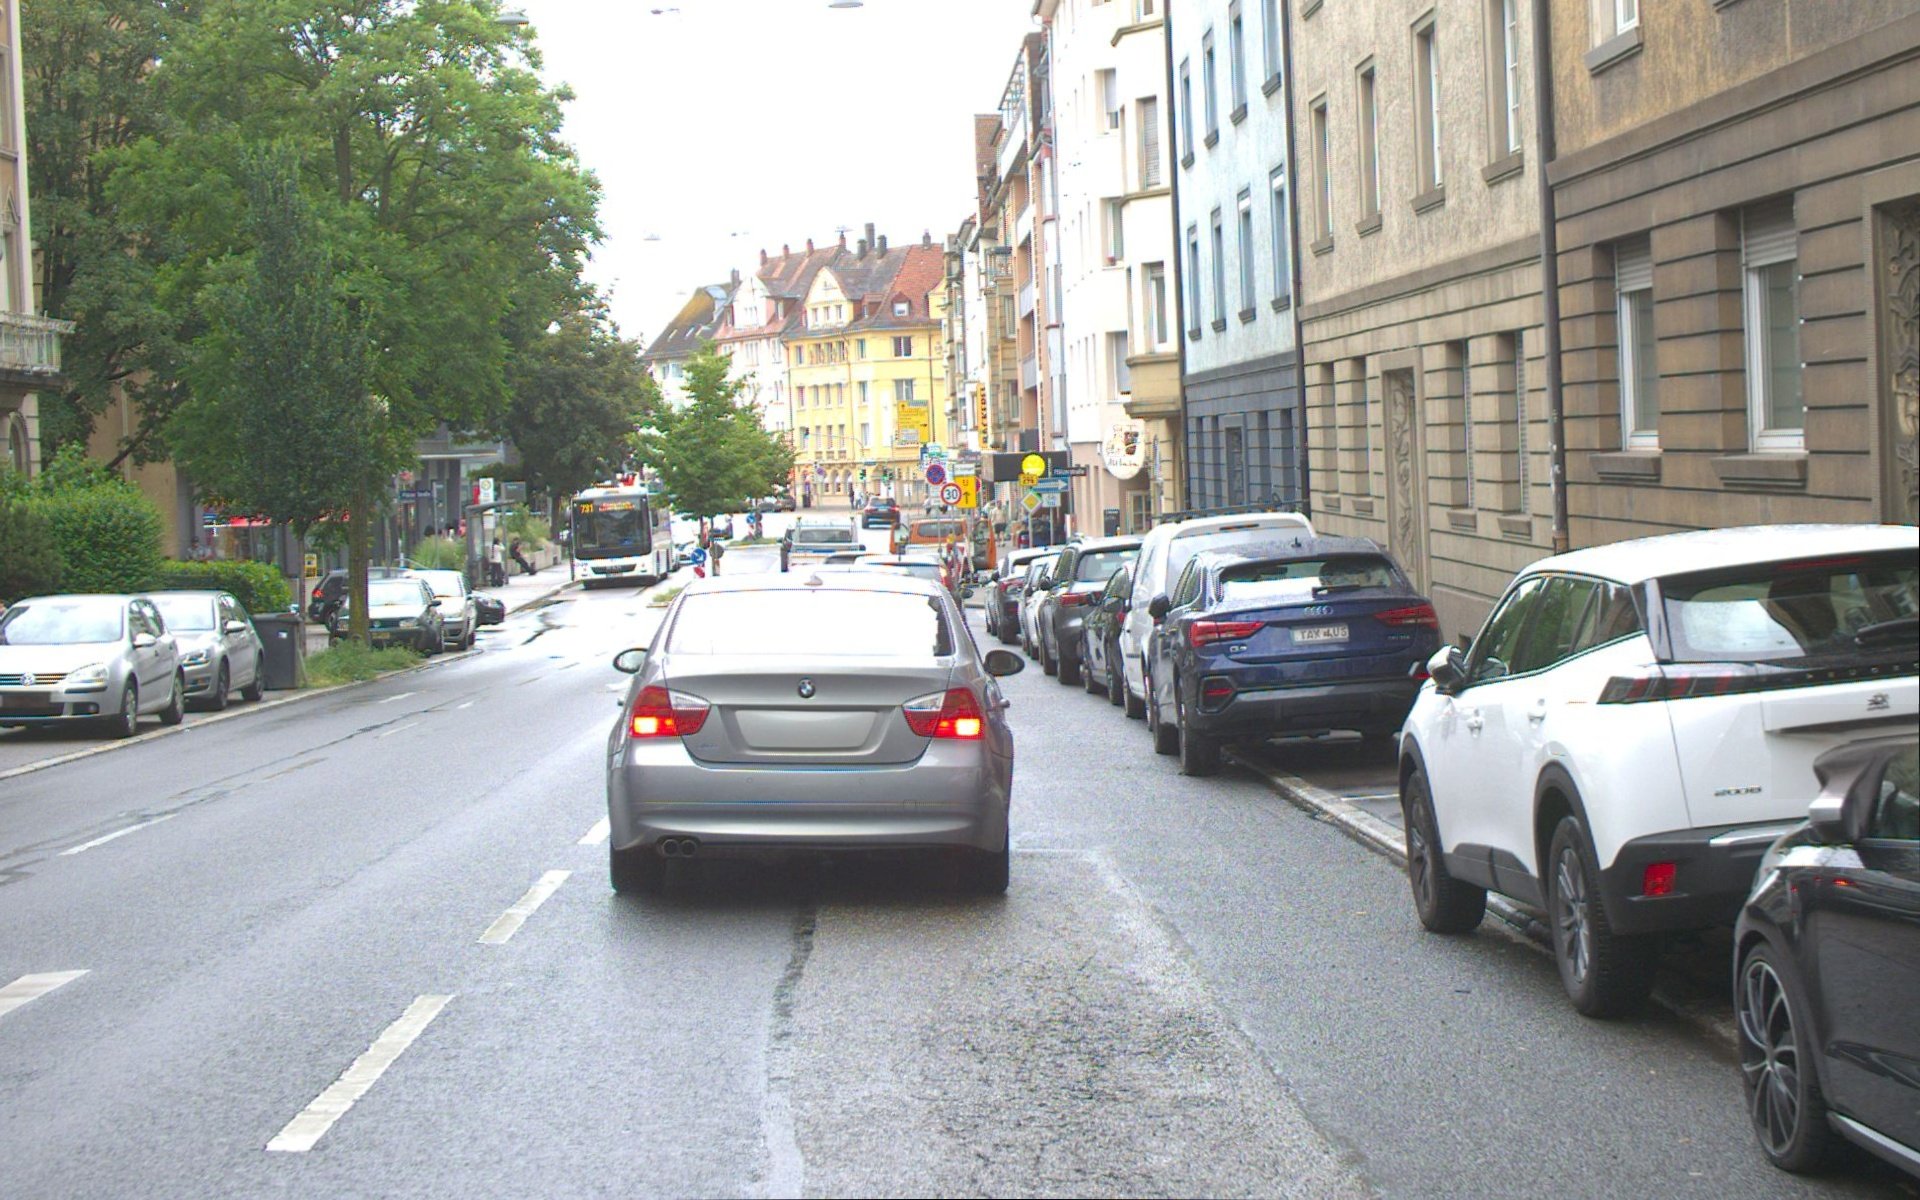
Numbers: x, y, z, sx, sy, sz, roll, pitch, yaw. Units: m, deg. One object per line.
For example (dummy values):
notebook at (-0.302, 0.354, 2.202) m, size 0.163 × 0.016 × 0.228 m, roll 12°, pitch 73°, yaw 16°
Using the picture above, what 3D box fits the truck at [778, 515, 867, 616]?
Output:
truck at (-3.597, -0.879, 89.779) m, size 2.216 × 2.535 × 4.780 m, roll 1°, pitch 0°, yaw -3°

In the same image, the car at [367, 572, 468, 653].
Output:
car at (-10.416, 0.214, 66.181) m, size 1.631 × 1.449 × 3.840 m, roll -2°, pitch 1°, yaw -5°

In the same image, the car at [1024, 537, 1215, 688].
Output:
car at (1.860, 0.131, 41.374) m, size 1.840 × 1.615 × 4.208 m, roll -3°, pitch 0°, yaw -2°

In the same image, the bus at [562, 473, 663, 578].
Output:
bus at (-11.567, -2.405, 115.270) m, size 2.681 × 3.190 × 11.957 m, roll 1°, pitch 0°, yaw -3°

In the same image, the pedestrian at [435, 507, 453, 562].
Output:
pedestrian at (-16.922, -2.133, 112.813) m, size 0.542 × 1.784 × 0.508 m, roll 1°, pitch 0°, yaw -10°

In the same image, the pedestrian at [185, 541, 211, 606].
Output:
pedestrian at (-21.509, -0.748, 96.993) m, size 0.633 × 1.810 × 0.638 m, roll -2°, pitch 2°, yaw -11°

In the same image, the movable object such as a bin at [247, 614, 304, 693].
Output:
movable object such as a bin at (-9.446, 0.733, 47.450) m, size 0.630 × 1.054 × 0.600 m, roll -2°, pitch 0°, yaw -1°

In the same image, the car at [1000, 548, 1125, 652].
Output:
car at (1.541, -0.029, 52.716) m, size 1.583 × 1.424 × 3.595 m, roll -5°, pitch 1°, yaw -2°

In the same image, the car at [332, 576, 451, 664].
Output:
car at (-10.172, 0.326, 61.718) m, size 1.653 × 1.449 × 3.943 m, roll -2°, pitch 1°, yaw -3°

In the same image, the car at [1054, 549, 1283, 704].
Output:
car at (2.111, 0.239, 36.044) m, size 1.840 × 1.404 × 4.388 m, roll -4°, pitch 1°, yaw -3°

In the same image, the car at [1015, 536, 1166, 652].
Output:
car at (1.782, -0.113, 48.184) m, size 1.729 × 1.424 × 3.974 m, roll -5°, pitch 1°, yaw -2°

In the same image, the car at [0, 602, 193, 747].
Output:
car at (-9.402, 0.754, 36.499) m, size 1.682 × 1.385 × 3.909 m, roll -1°, pitch 1°, yaw -1°

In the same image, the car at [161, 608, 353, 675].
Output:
car at (-15.089, 0.878, 73.927) m, size 3.815 × 1.385 × 1.743 m, roll -1°, pitch 0°, yaw -2°

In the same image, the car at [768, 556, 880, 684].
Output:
car at (-2.278, 0.326, 56.955) m, size 1.705 × 2.007 × 4.000 m, roll 1°, pitch 0°, yaw -4°

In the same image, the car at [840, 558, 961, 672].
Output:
car at (-0.726, 0.183, 43.420) m, size 1.435 × 1.352 × 3.762 m, roll 1°, pitch 0°, yaw 0°

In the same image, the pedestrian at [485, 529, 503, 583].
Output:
pedestrian at (-14.831, -1.400, 109.355) m, size 0.542 × 1.703 × 0.466 m, roll 1°, pitch 0°, yaw -8°

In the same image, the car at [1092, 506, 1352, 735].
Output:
car at (2.274, 0.141, 30.827) m, size 1.790 × 1.811 × 4.080 m, roll -3°, pitch 1°, yaw -2°

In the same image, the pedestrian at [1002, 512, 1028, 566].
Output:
pedestrian at (1.722, -1.911, 107.152) m, size 0.750 × 1.655 × 0.754 m, roll 1°, pitch 0°, yaw 3°

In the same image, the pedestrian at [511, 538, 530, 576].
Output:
pedestrian at (-15.992, -1.552, 125.059) m, size 0.619 × 1.373 × 0.544 m, roll 1°, pitch 0°, yaw 0°

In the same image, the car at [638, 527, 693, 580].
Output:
car at (-11.612, -1.819, 135.732) m, size 1.993 × 2.007 × 4.000 m, roll 0°, pitch 0°, yaw -3°

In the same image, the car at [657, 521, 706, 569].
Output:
car at (-12.260, -2.432, 151.639) m, size 1.993 × 2.007 × 4.000 m, roll 1°, pitch 0°, yaw -3°

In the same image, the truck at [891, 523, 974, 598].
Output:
truck at (-0.837, -1.163, 102.217) m, size 2.215 × 2.109 × 4.652 m, roll 2°, pitch 0°, yaw -3°

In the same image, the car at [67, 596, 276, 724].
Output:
car at (-9.675, 0.706, 42.447) m, size 1.682 × 1.385 × 3.936 m, roll -3°, pitch 1°, yaw -1°

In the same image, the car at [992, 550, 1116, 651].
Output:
car at (1.571, -0.013, 58.805) m, size 1.818 × 1.552 × 4.293 m, roll -4°, pitch 1°, yaw -1°

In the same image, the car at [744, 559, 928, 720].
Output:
car at (-1.214, 0.362, 32.415) m, size 1.601 × 1.415 × 3.288 m, roll 1°, pitch 0°, yaw -4°

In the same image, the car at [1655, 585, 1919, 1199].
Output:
car at (2.771, 0.724, 7.271) m, size 1.632 × 1.473 × 3.735 m, roll 1°, pitch 0°, yaw -3°

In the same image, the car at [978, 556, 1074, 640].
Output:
car at (1.225, -0.056, 65.346) m, size 1.569 × 1.459 × 4.089 m, roll -4°, pitch 1°, yaw -1°

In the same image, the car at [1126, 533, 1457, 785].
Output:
car at (2.268, 0.351, 24.561) m, size 1.790 × 1.543 × 4.226 m, roll -3°, pitch 1°, yaw -1°

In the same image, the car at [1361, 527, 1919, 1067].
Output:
car at (2.656, 0.592, 12.584) m, size 1.632 × 1.633 × 4.196 m, roll 1°, pitch 0°, yaw -3°

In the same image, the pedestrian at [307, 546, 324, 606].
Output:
pedestrian at (-19.330, -0.730, 103.086) m, size 0.464 × 1.784 × 0.545 m, roll 1°, pitch 0°, yaw -8°

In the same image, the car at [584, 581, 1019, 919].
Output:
car at (-0.690, 0.610, 15.524) m, size 1.756 × 1.358 × 3.165 m, roll 0°, pitch 0°, yaw -2°

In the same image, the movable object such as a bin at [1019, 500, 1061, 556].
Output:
movable object such as a bin at (2.551, -2.284, 109.249) m, size 1.122 × 1.697 × 1.434 m, roll -3°, pitch 0°, yaw -4°
